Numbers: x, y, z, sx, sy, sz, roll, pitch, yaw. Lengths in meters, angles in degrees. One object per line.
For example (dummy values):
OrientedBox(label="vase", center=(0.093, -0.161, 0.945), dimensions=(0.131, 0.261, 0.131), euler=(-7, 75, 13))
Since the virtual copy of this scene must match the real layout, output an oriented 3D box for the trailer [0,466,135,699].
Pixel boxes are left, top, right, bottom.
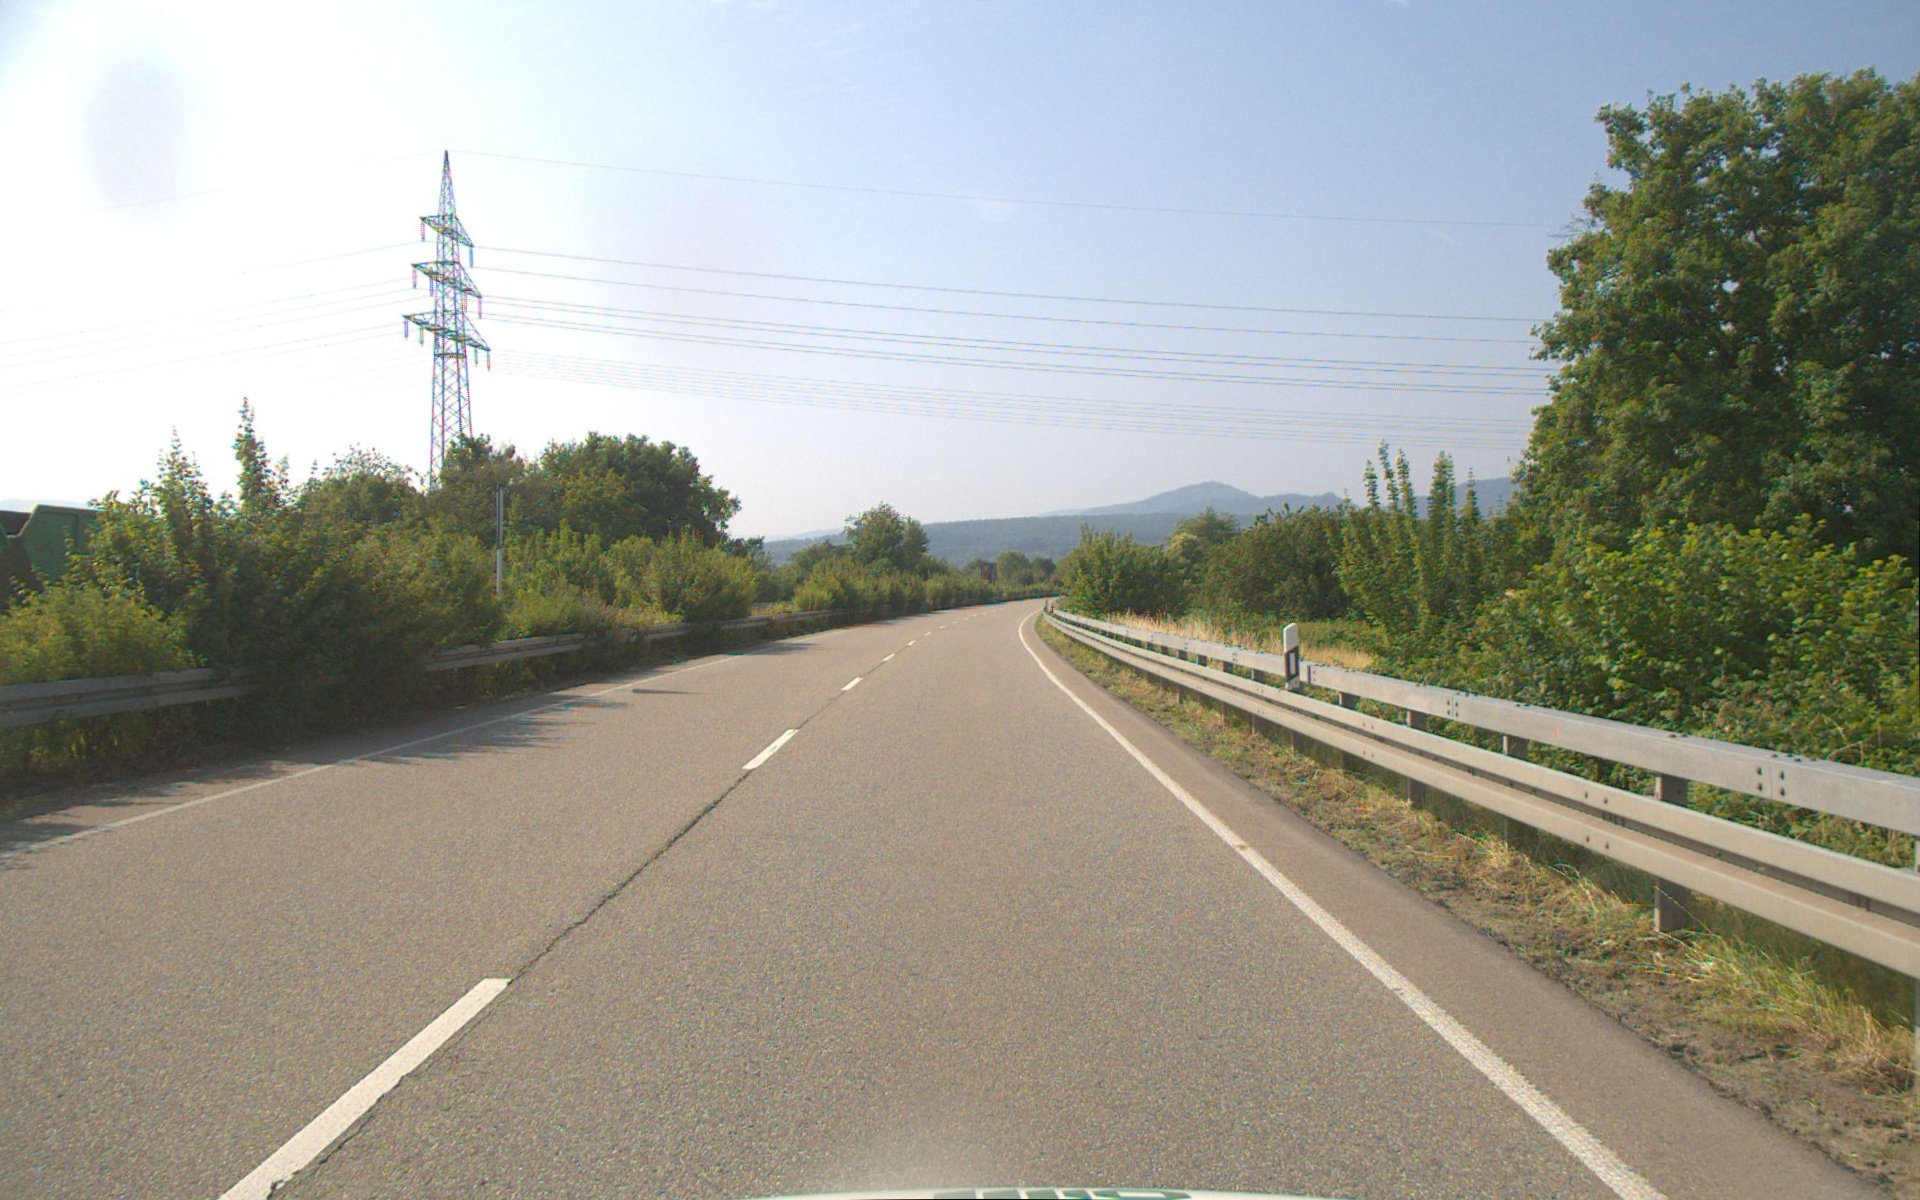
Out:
OrientedBox(label="trailer", center=(-15.070, -0.263, 21.802), dimensions=(1.953, 3.435, 13.423), euler=(0, 0, -1))
